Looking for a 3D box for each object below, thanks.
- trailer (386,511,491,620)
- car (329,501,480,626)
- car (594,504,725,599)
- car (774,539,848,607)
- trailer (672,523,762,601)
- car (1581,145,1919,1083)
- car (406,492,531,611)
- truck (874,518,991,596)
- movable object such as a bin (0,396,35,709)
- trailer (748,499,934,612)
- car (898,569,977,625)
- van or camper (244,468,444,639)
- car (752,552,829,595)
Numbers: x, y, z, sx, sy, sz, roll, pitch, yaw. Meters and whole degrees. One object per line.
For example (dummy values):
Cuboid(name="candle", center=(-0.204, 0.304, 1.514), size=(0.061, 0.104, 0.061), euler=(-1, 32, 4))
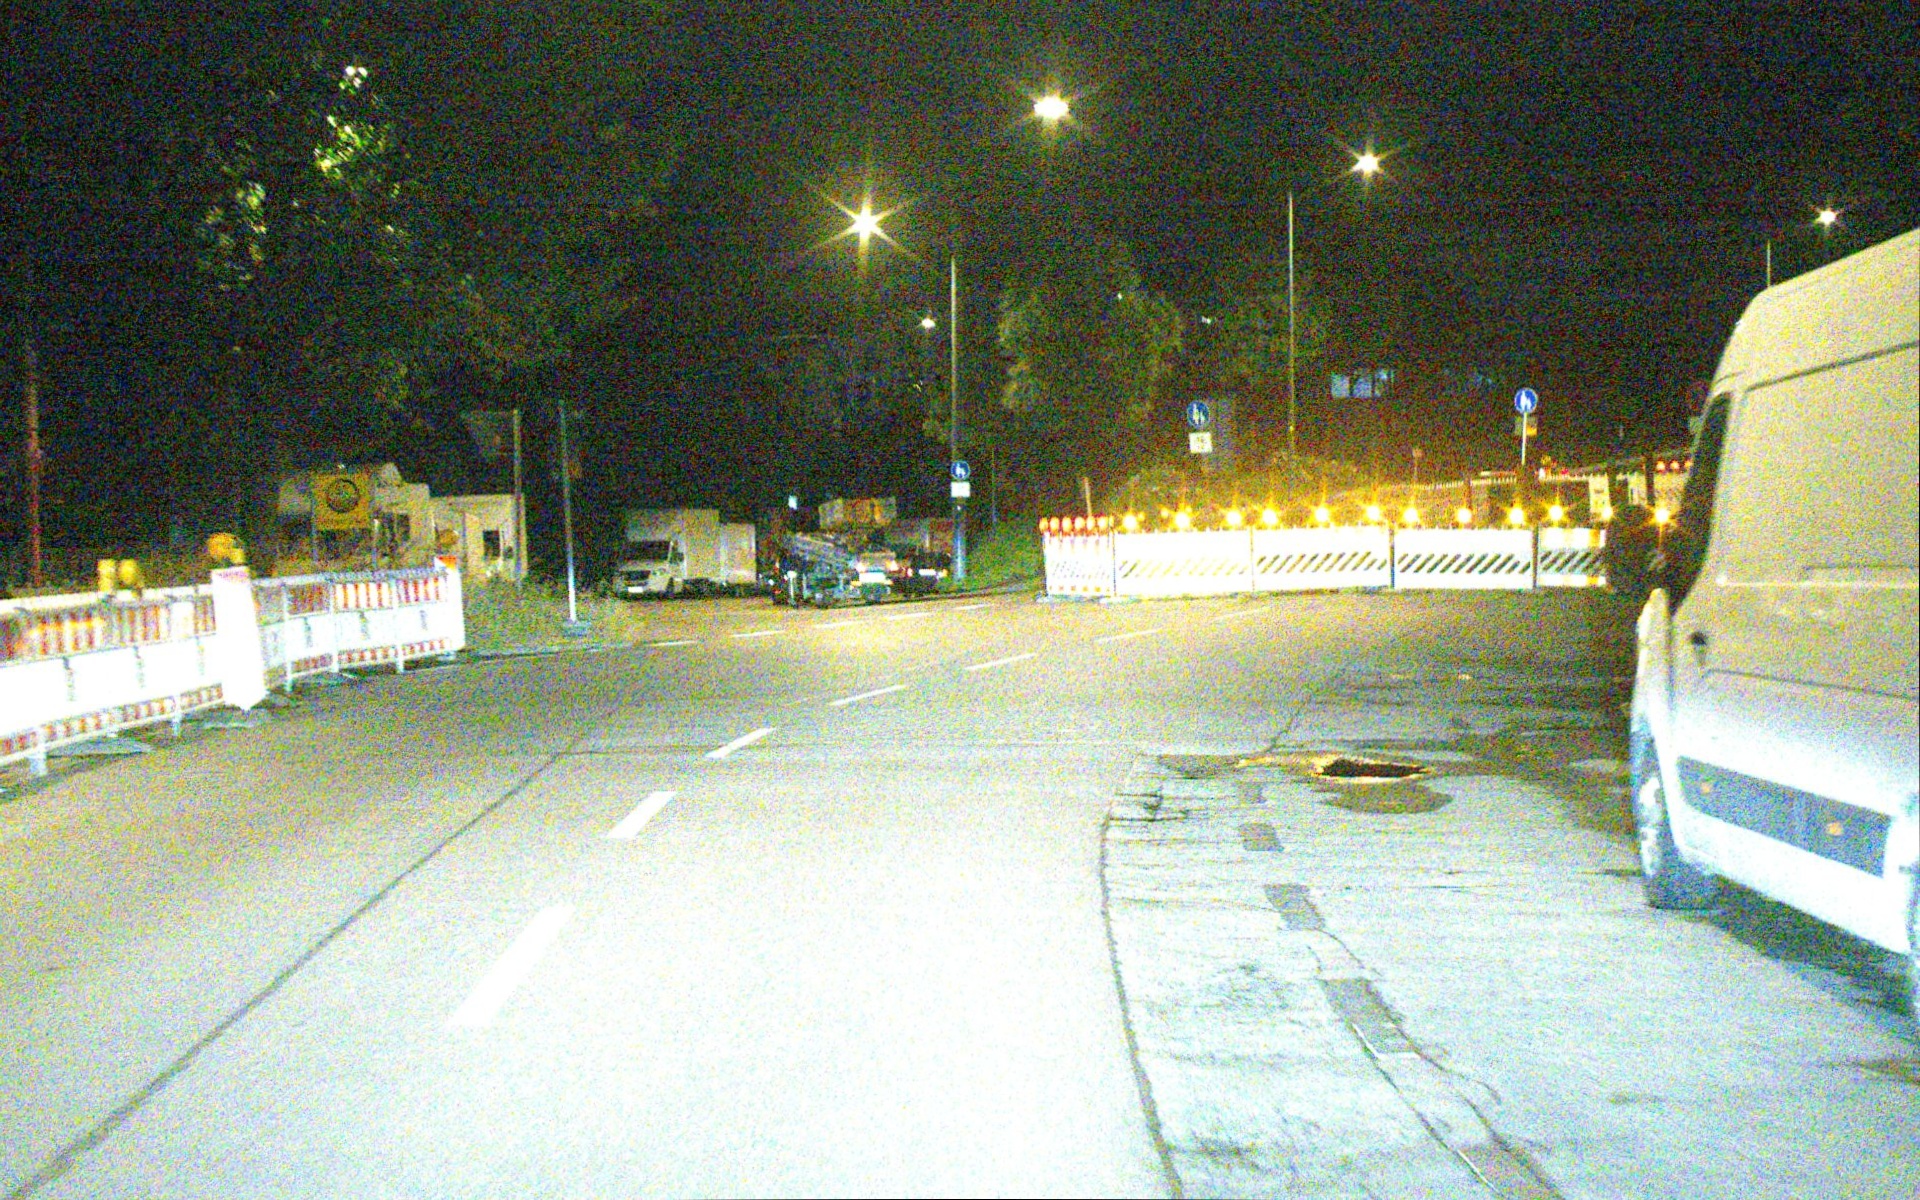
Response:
Cuboid(name="trailer", center=(-12.635, -0.851, 83.432), size=(1.993, 2.519, 3.568), euler=(-2, 1, -2))
Cuboid(name="car", center=(-12.472, -0.832, 77.636), size=(2.519, 2.597, 7.092), euler=(-2, 1, -3))
Cuboid(name="car", center=(-10.496, -1.724, 120.795), size=(2.520, 3.160, 7.134), euler=(-2, 1, 12))
Cuboid(name="car", center=(-3.685, -0.649, 85.483), size=(1.720, 1.655, 4.000), euler=(0, 0, -1))
Cuboid(name="trailer", center=(-8.983, -1.424, 127.373), size=(1.995, 2.803, 4.700), euler=(-1, 1, 13))
Cuboid(name="car", center=(3.657, -0.021, 11.414), size=(2.108, 2.507, 6.372), euler=(0, 2, 1))
Cuboid(name="car", center=(-12.900, -1.277, 90.736), size=(2.519, 2.917, 7.202), euler=(-2, 1, -3))
Cuboid(name="truck", center=(-1.178, -2.014, 156.307), size=(1.996, 3.392, 8.969), euler=(1, 2, 22))
Cuboid(name="movable object such as a bin", center=(-9.173, -0.395, 29.942), size=(1.570, 2.724, 3.702), euler=(-3, 2, -8))
Cuboid(name="trailer", center=(-2.505, -0.896, 70.940), size=(1.559, 2.153, 5.222), euler=(-2, 0, -29))
Cuboid(name="car", center=(-0.725, -0.098, 114.341), size=(1.722, 1.815, 3.997), euler=(0, 0, 14))
Cuboid(name="van or camper", center=(-11.991, -0.908, 67.546), size=(2.519, 3.084, 7.445), euler=(-2, 1, 0))
Cuboid(name="car", center=(-6.797, -1.061, 138.464), size=(1.995, 1.694, 4.204), euler=(0, 0, 13))
